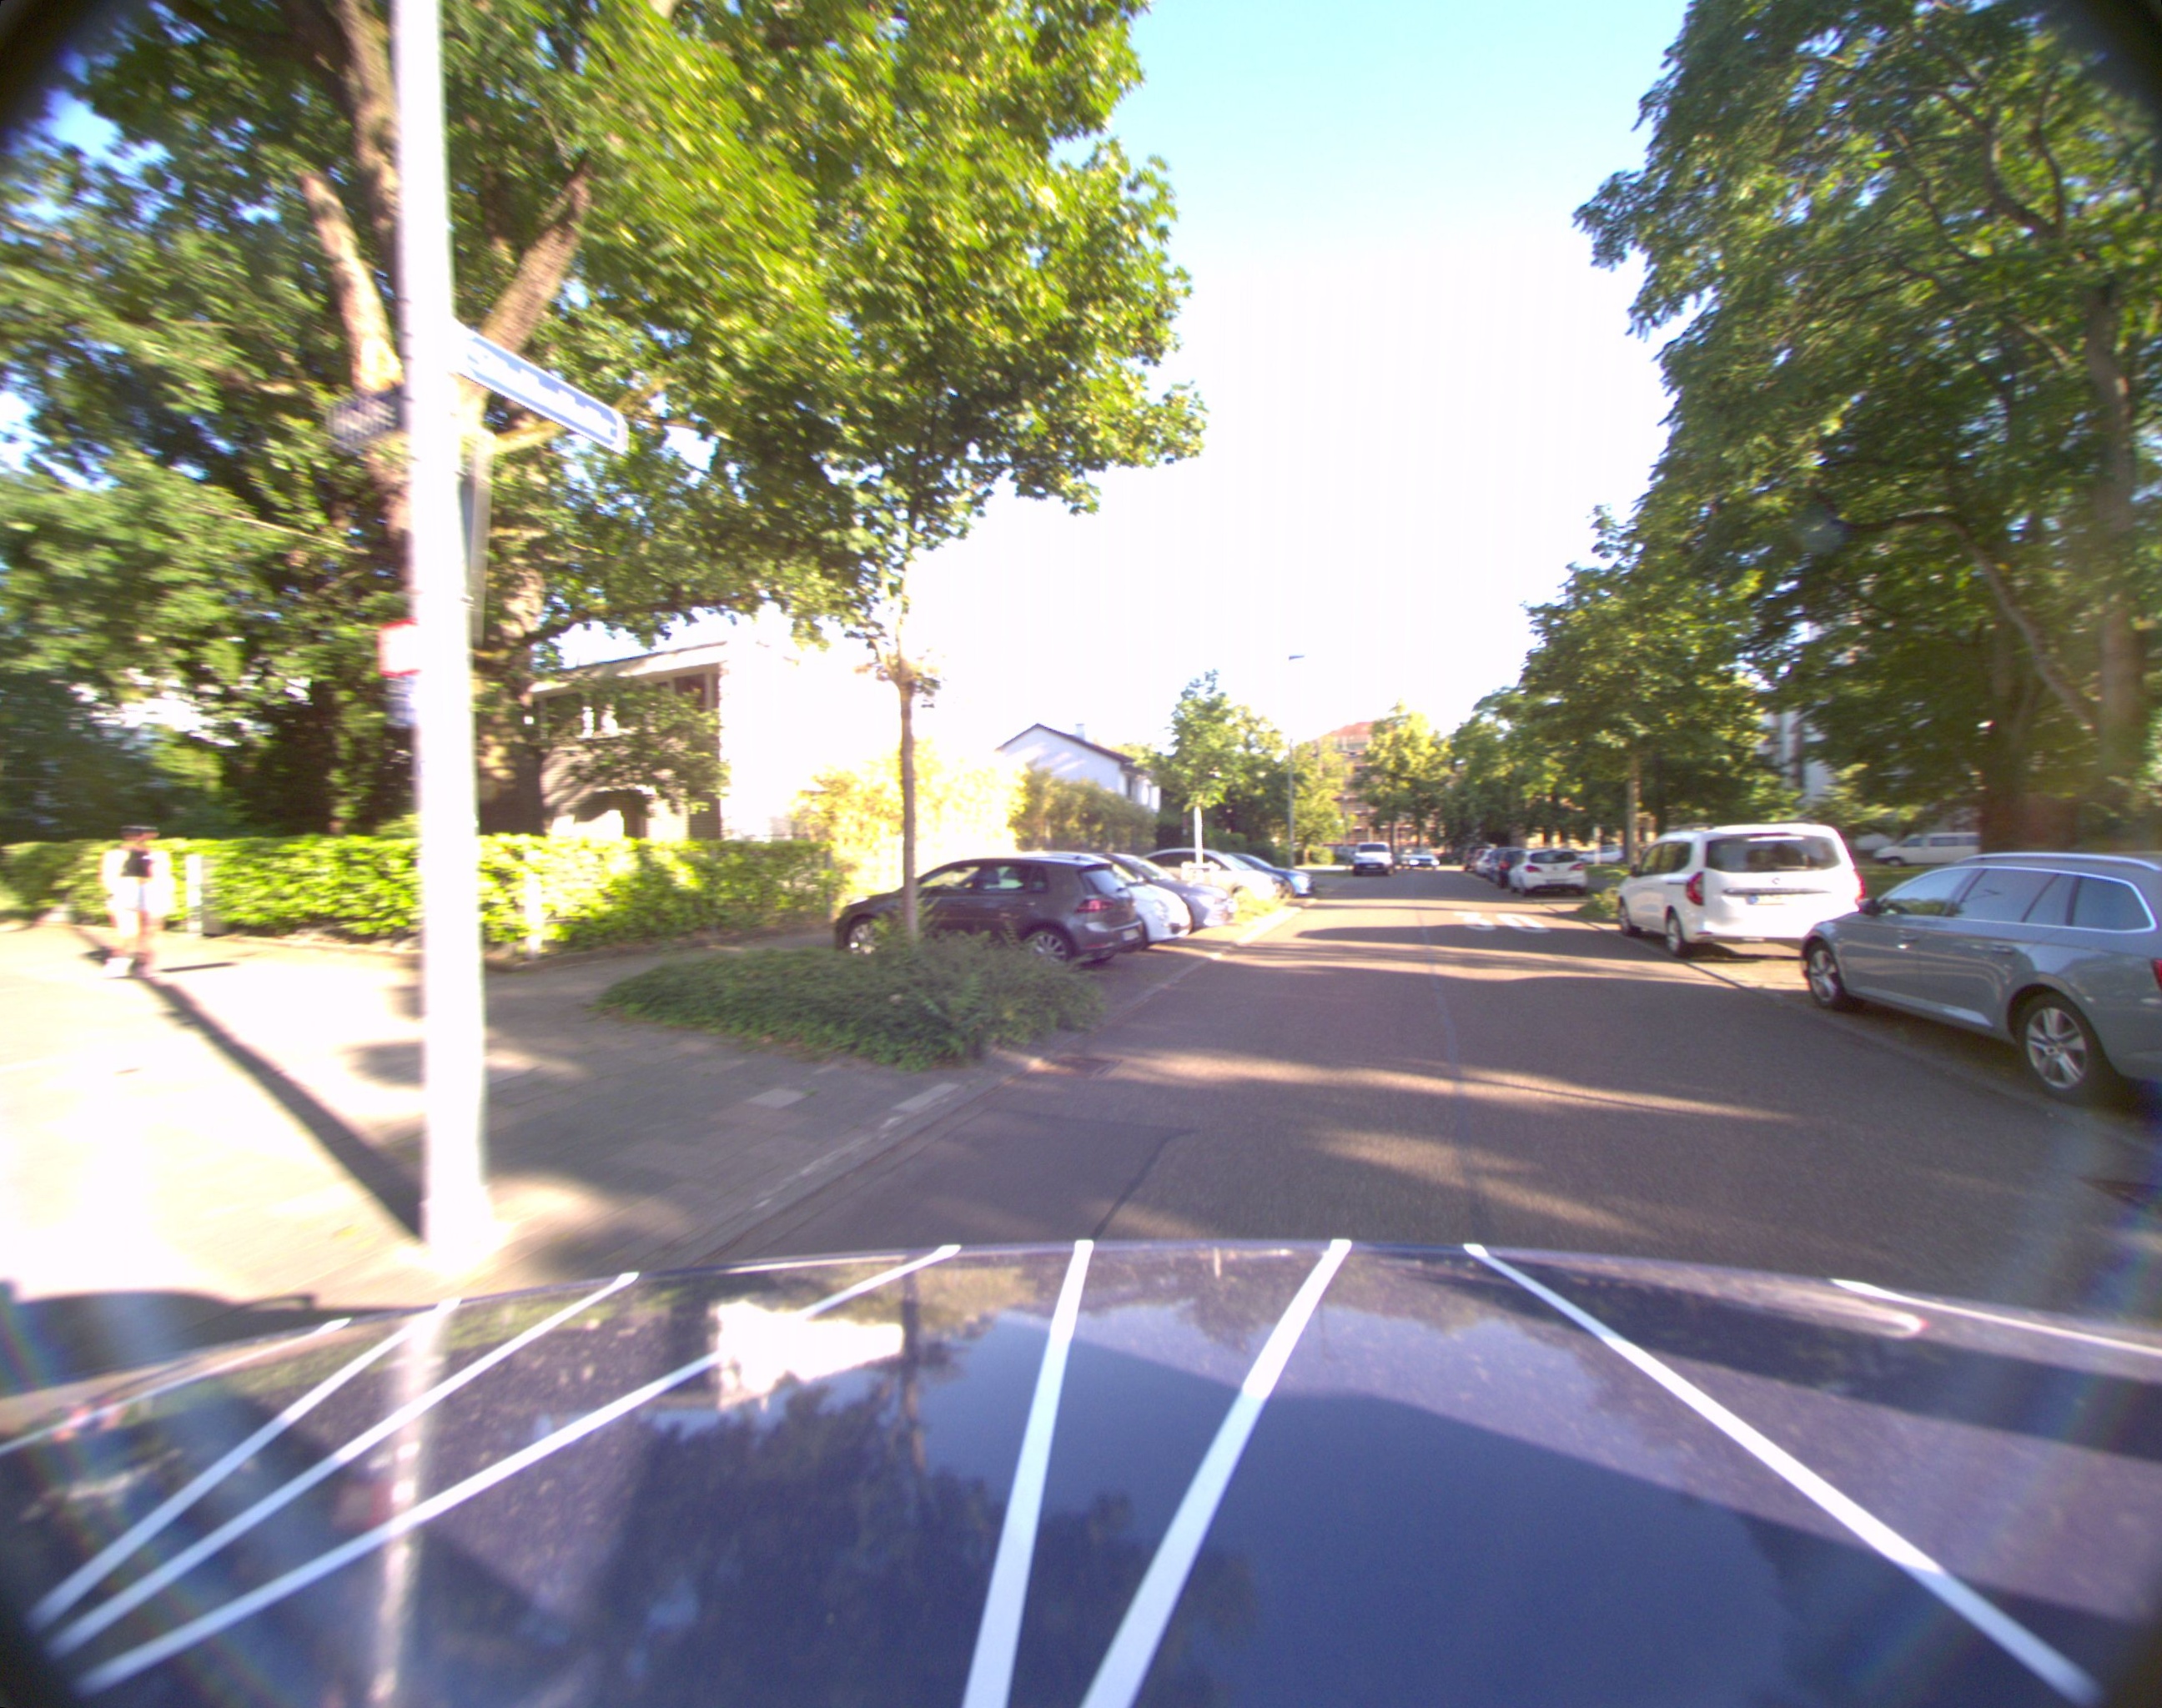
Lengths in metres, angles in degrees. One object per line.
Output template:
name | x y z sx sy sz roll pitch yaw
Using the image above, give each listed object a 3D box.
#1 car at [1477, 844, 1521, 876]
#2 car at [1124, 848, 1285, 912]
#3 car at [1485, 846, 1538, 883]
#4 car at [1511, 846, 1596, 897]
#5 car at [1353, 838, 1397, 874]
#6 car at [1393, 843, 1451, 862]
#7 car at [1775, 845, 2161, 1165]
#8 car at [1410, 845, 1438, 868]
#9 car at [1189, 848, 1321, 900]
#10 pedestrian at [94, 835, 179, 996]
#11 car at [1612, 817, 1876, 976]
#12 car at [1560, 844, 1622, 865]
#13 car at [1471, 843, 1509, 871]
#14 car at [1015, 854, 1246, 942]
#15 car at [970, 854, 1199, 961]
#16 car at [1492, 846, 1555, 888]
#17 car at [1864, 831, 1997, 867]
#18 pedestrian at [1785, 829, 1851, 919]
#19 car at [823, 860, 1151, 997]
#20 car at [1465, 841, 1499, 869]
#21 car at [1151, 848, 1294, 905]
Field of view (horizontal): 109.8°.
car | 21.359 0.281 38.937 1.713 1.500 3.685 -1 1 25
car | 3.288 0.624 20.146 3.914 1.529 1.748 1 2 21
car | 19.049 0.428 33.762 1.713 1.500 3.685 -1 1 25
car | 14.936 0.515 24.198 1.714 1.500 3.314 -1 0 21
car | 16.726 0.086 43.123 2.056 1.919 4.455 -1 1 25
car | 32.503 -0.153 72.570 2.289 1.674 4.502 2 -1 -31
car | 7.161 0.750 5.381 1.863 1.549 4.845 -1 1 24
car | 24.708 0.149 54.750 1.779 1.526 4.353 -1 1 24
car | 5.624 0.585 24.484 3.914 1.529 1.748 1 2 21
pedestrian | -10.751 0.672 8.648 0.664 1.765 0.436 -1 1 28
car | 9.519 0.500 11.360 1.758 1.905 4.245 -2 0 24
car | 38.727 0.038 57.743 1.692 1.489 3.566 -2 1 -32
car | 24.058 0.158 44.767 1.713 1.500 3.685 -1 1 25
car | 0.951 0.757 14.723 4.089 1.449 1.814 1 2 25
car | 0.075 0.778 12.360 3.348 1.483 1.640 1 2 21
car | 16.887 0.461 29.143 1.713 1.500 3.685 -1 1 24
car | 47.803 -0.272 42.889 1.799 1.905 4.761 -2 1 -32
pedestrian | 14.629 0.383 15.103 0.715 1.727 0.748 -1 2 24
car | -1.244 0.871 10.054 3.990 1.507 1.648 -1 1 23
car | 25.470 0.045 48.348 1.713 1.673 3.685 -1 1 25
car | 4.216 0.608 22.577 3.914 1.529 1.748 1 2 21
